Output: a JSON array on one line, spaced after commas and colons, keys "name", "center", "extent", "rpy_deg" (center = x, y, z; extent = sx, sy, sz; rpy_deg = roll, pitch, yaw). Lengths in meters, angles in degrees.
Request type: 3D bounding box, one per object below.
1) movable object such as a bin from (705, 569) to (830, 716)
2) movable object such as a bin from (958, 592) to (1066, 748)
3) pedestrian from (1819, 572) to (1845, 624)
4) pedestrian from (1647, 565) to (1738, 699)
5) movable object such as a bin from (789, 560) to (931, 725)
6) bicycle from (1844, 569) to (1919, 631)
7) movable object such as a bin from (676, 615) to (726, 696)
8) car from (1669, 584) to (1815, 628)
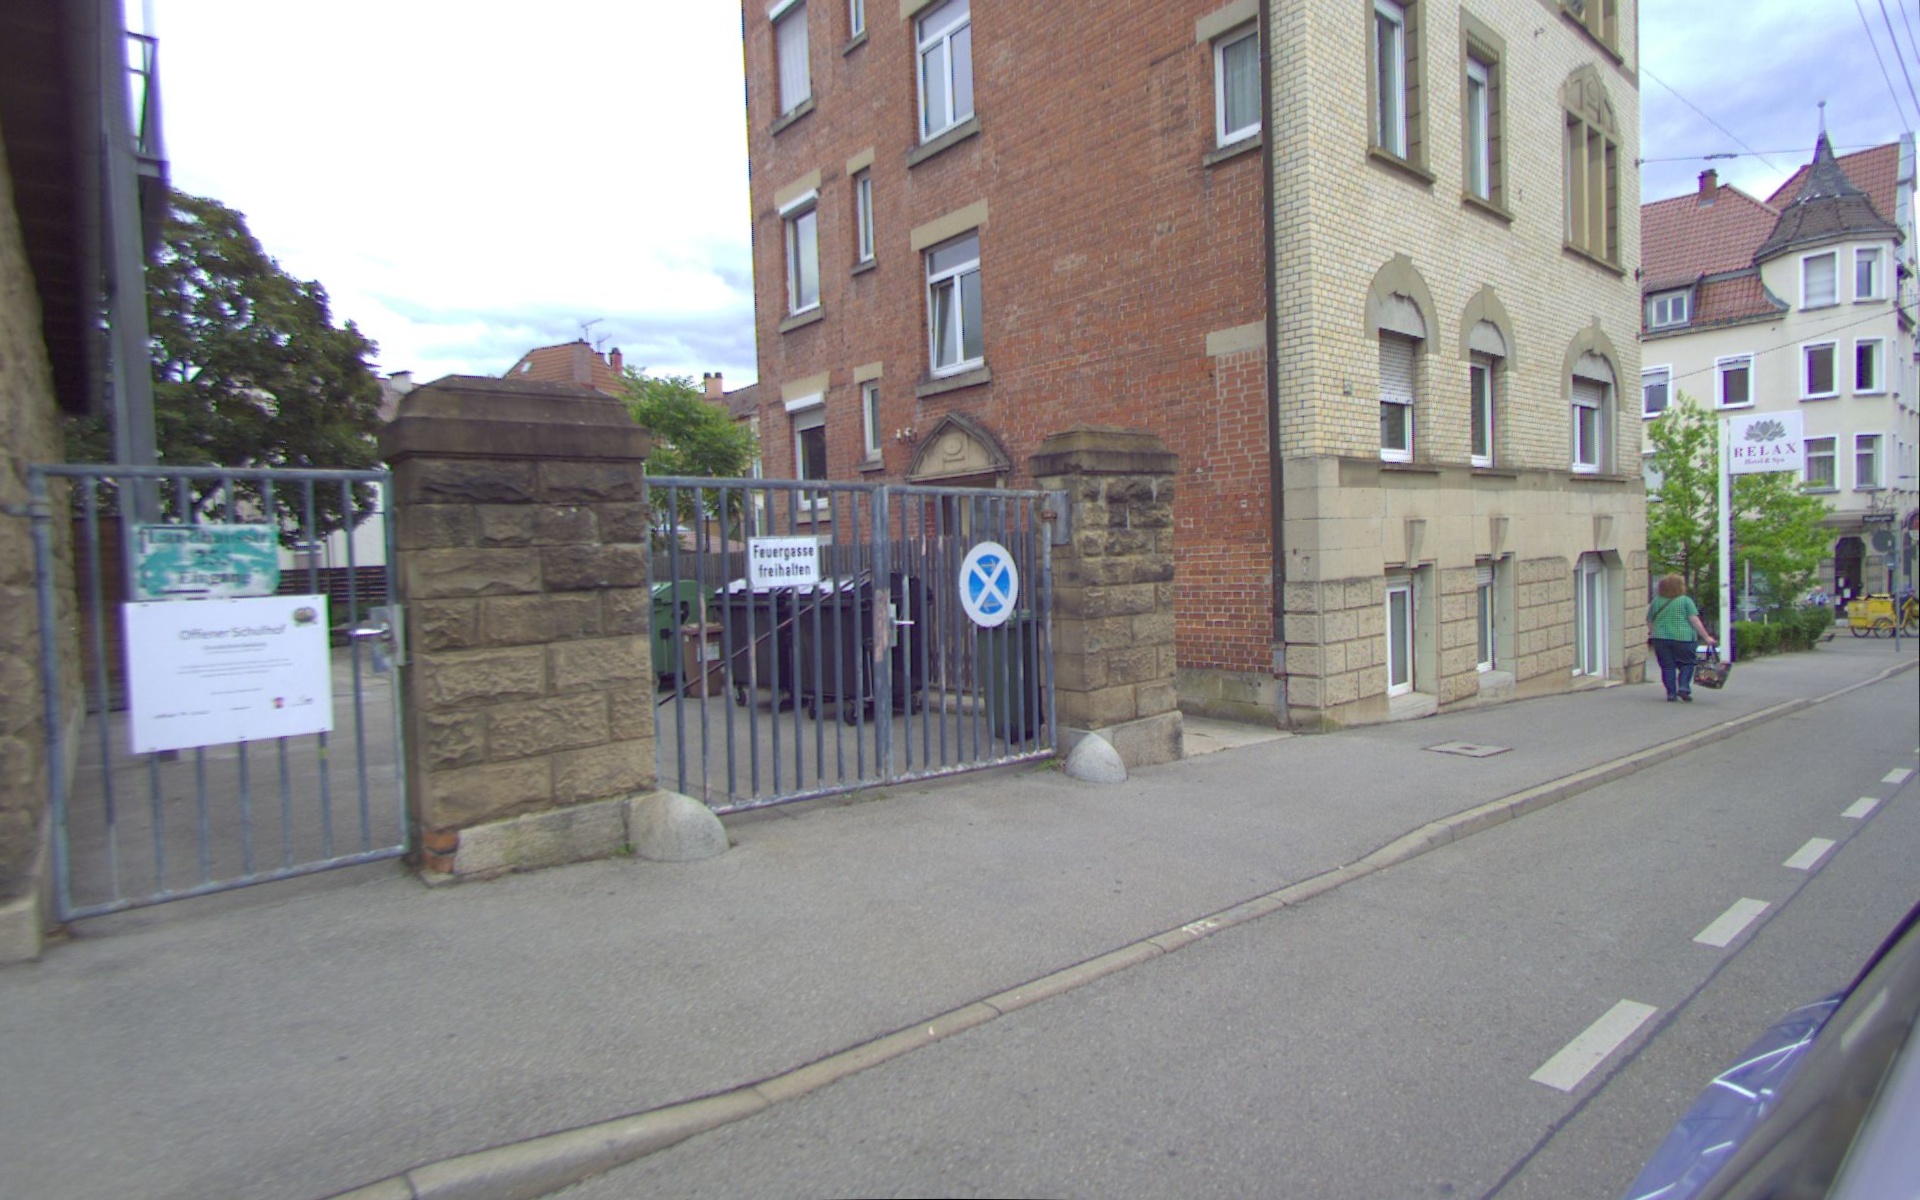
[{"name": "movable object such as a bin", "center": [-2.161, 0.441, 11.354], "extent": [0.980, 1.533, 1.077], "rpy_deg": [0, 0, -41]}, {"name": "movable object such as a bin", "center": [0.435, 0.550, 8.483], "extent": [0.595, 1.234, 0.695], "rpy_deg": [0, 0, -41]}, {"name": "pedestrian", "center": [29.969, -0.067, 34.786], "extent": [0.482, 1.790, 0.485], "rpy_deg": [0, 0, -7]}, {"name": "pedestrian", "center": [9.783, 0.394, 13.526], "extent": [0.870, 1.707, 0.653], "rpy_deg": [3, 2, 43]}, {"name": "movable object such as a bin", "center": [-1.010, 0.392, 10.155], "extent": [0.980, 1.533, 1.077], "rpy_deg": [0, 0, -41]}, {"name": "bicycle", "center": [30.587, -0.016, 32.821], "extent": [2.678, 1.890, 1.182], "rpy_deg": [-3, 0, 1]}, {"name": "movable object such as a bin", "center": [-3.237, 0.684, 12.646], "extent": [0.446, 0.946, 0.385], "rpy_deg": [-4, 3, -41]}, {"name": "car", "center": [27.530, 0.210, 35.710], "extent": [1.553, 1.482, 3.851], "rpy_deg": [0, 0, -42]}]
